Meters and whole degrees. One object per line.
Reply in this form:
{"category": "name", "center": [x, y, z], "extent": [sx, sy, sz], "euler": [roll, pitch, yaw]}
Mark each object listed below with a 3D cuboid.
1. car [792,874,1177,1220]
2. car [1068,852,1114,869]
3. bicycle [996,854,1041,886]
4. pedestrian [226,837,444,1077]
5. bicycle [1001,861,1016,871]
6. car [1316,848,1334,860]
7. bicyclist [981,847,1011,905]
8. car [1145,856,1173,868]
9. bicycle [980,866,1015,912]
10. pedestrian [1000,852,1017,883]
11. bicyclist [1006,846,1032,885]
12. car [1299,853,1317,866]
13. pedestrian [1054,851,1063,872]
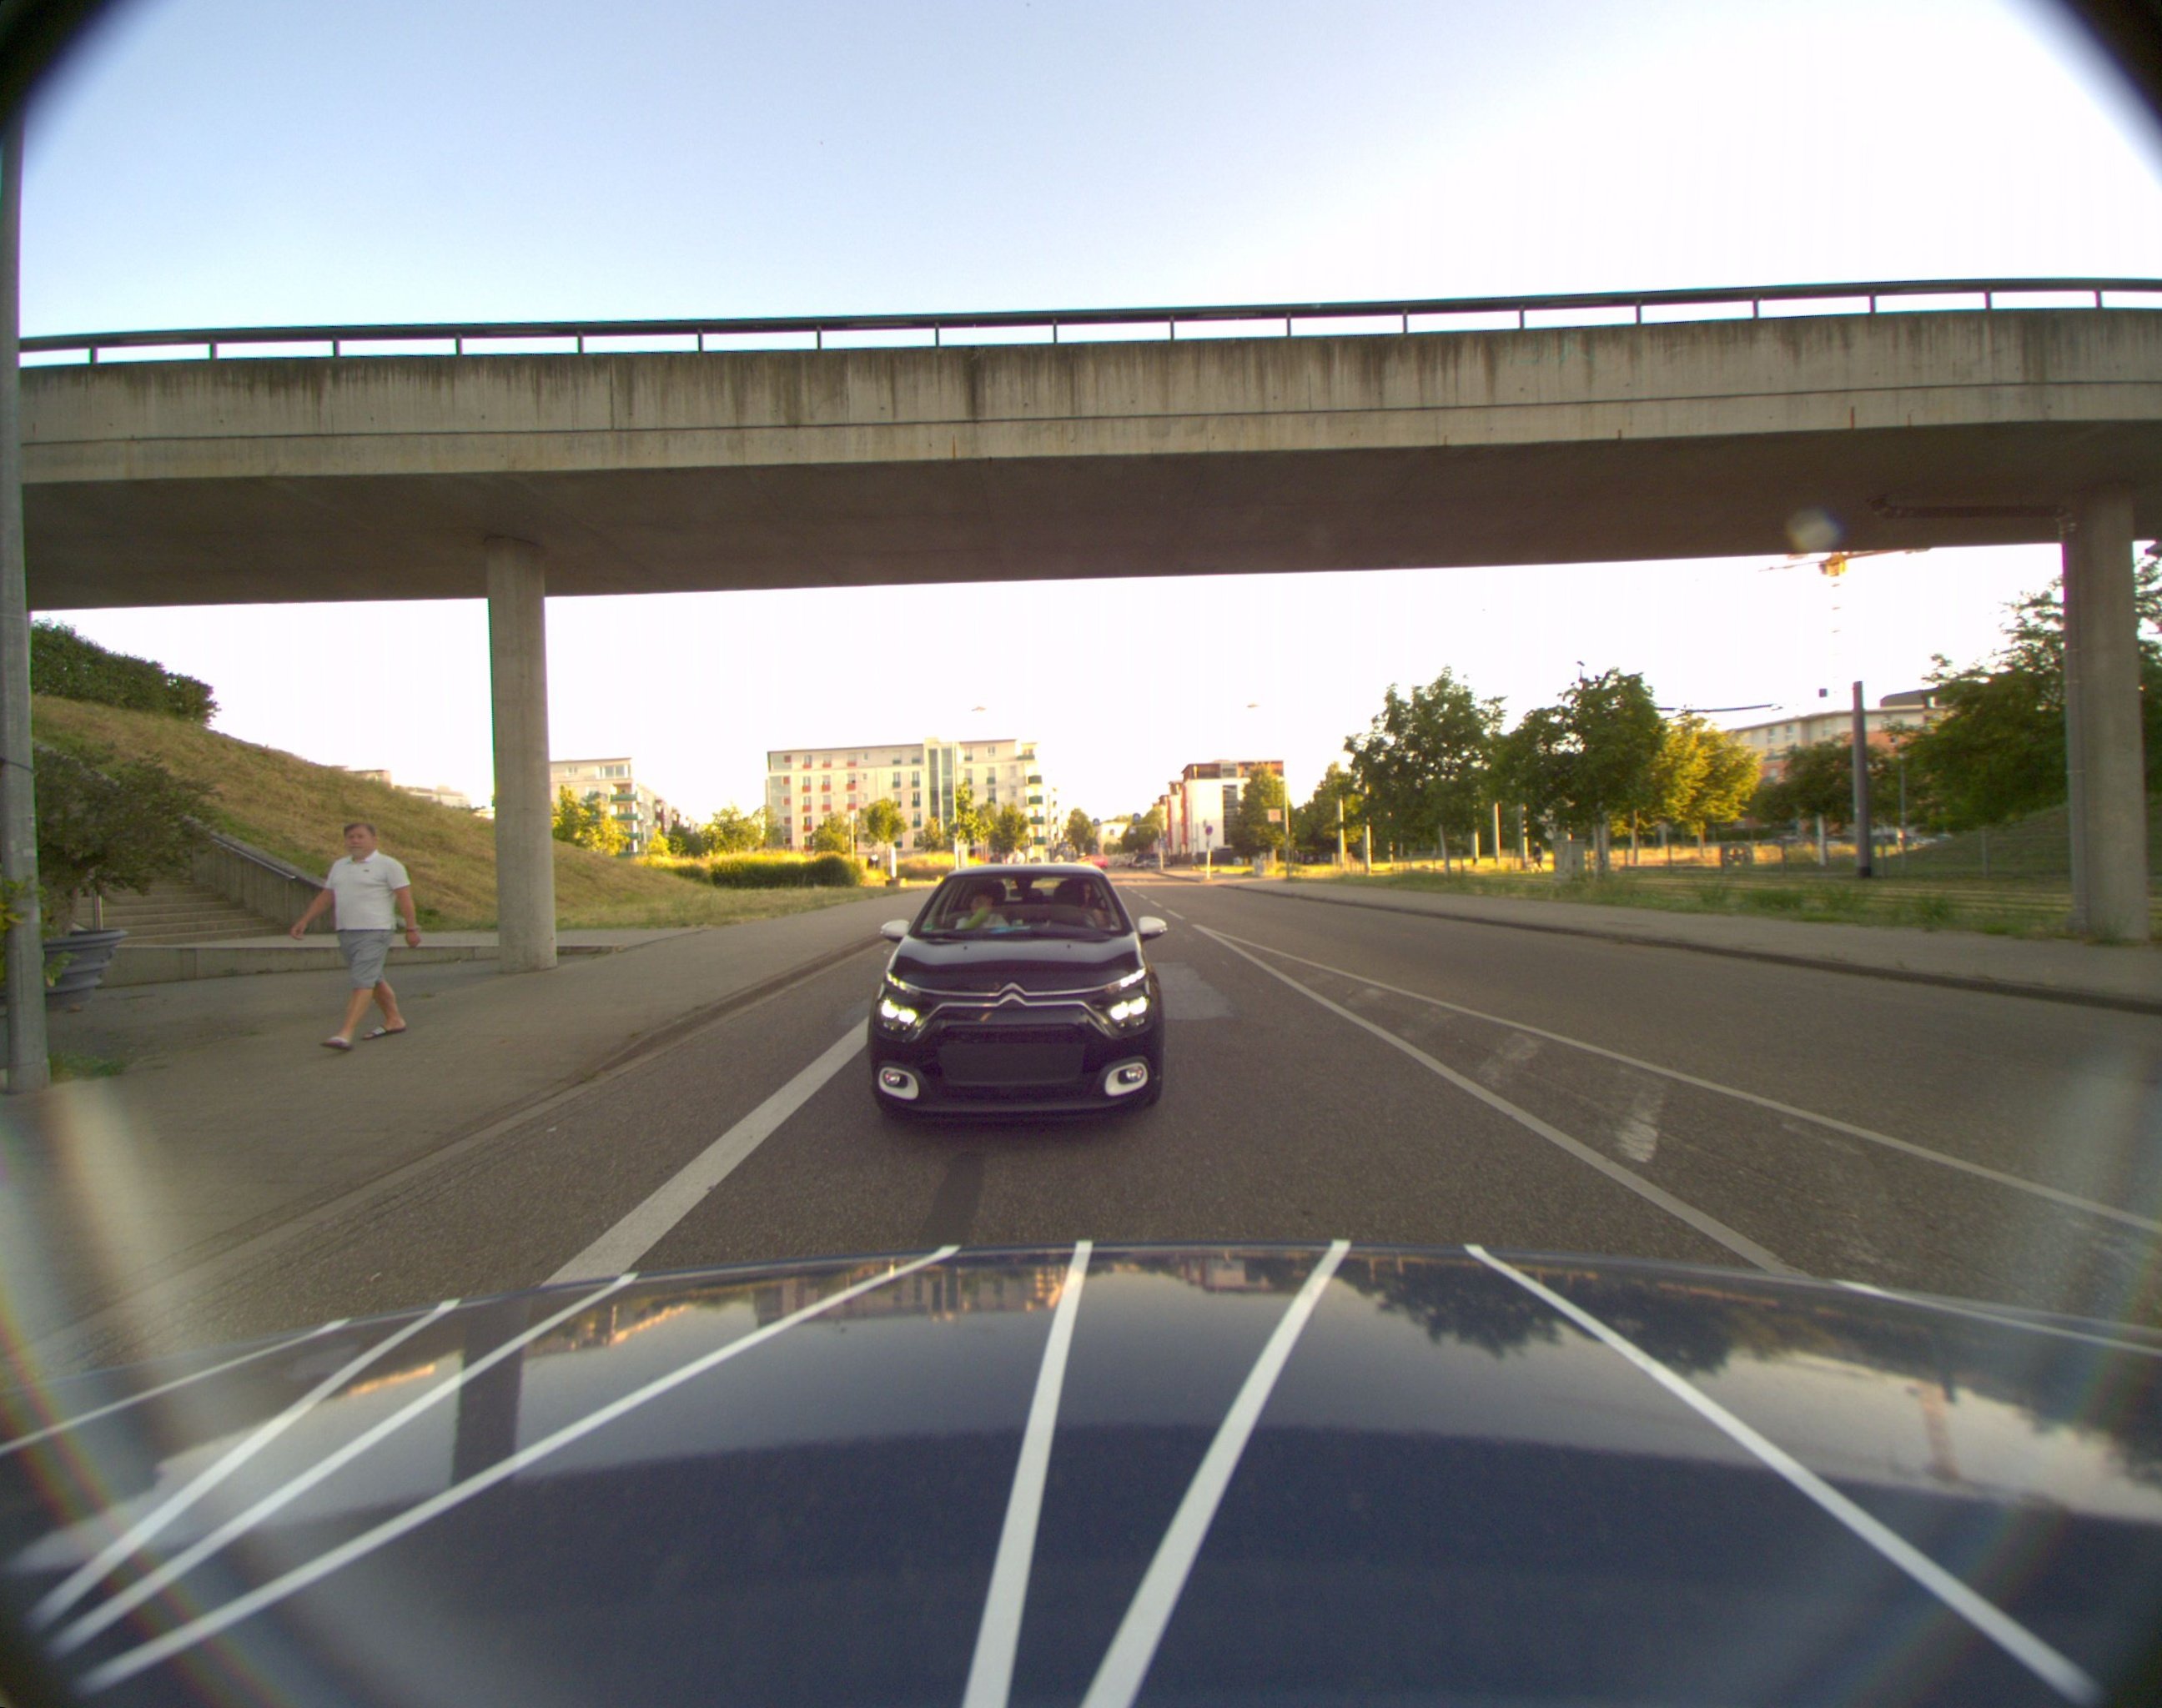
{"category": "car", "center": [-0.414, 0.949, 5.522], "extent": [1.739, 1.455, 4.000], "euler": [-2, 0, 1]}
{"category": "car", "center": [1.269, 0.864, 98.415], "extent": [5.531, 2.002, 1.997], "euler": [-2, 0, -19]}
{"category": "bicycle", "center": [-3.059, 0.753, 37.583], "extent": [0.886, 1.483, 3.326], "euler": [-2, 0, 20]}
{"category": "pedestrian", "center": [-5.763, 0.748, 5.937], "extent": [0.737, 1.714, 0.906], "euler": [-2, 0, 1]}
{"category": "bicycle", "center": [-8.838, 1.488, 92.488], "extent": [0.901, 1.142, 3.493], "euler": [-2, 0, -20]}
{"category": "car", "center": [31.057, -0.004, 96.778], "extent": [1.942, 1.521, 4.004], "euler": [-2, 0, 14]}
{"category": "bicyclist", "center": [-2.466, 0.633, 22.059], "extent": [0.697, 1.630, 0.852], "euler": [-2, 0, 1]}
{"category": "car", "center": [11.623, 1.202, 113.915], "extent": [3.996, 1.718, 2.000], "euler": [-2, 0, 2]}
{"category": "bicycle", "center": [-2.427, 0.986, 22.269], "extent": [0.662, 1.217, 2.440], "euler": [-2, 0, 1]}
{"category": "pedestrian", "center": [-3.722, 0.688, 39.129], "extent": [0.737, 1.620, 0.859], "euler": [0, 0, 2]}
{"category": "bicyclist", "center": [-3.064, 0.566, 37.690], "extent": [0.881, 1.865, 1.036], "euler": [-2, 0, 20]}
{"category": "car", "center": [29.008, 0.646, 97.175], "extent": [1.942, 1.521, 4.004], "euler": [-2, 0, 14]}
{"category": "pedestrian", "center": [-1.864, 0.638, 62.485], "extent": [0.737, 1.714, 0.532], "euler": [0, 0, 1]}
